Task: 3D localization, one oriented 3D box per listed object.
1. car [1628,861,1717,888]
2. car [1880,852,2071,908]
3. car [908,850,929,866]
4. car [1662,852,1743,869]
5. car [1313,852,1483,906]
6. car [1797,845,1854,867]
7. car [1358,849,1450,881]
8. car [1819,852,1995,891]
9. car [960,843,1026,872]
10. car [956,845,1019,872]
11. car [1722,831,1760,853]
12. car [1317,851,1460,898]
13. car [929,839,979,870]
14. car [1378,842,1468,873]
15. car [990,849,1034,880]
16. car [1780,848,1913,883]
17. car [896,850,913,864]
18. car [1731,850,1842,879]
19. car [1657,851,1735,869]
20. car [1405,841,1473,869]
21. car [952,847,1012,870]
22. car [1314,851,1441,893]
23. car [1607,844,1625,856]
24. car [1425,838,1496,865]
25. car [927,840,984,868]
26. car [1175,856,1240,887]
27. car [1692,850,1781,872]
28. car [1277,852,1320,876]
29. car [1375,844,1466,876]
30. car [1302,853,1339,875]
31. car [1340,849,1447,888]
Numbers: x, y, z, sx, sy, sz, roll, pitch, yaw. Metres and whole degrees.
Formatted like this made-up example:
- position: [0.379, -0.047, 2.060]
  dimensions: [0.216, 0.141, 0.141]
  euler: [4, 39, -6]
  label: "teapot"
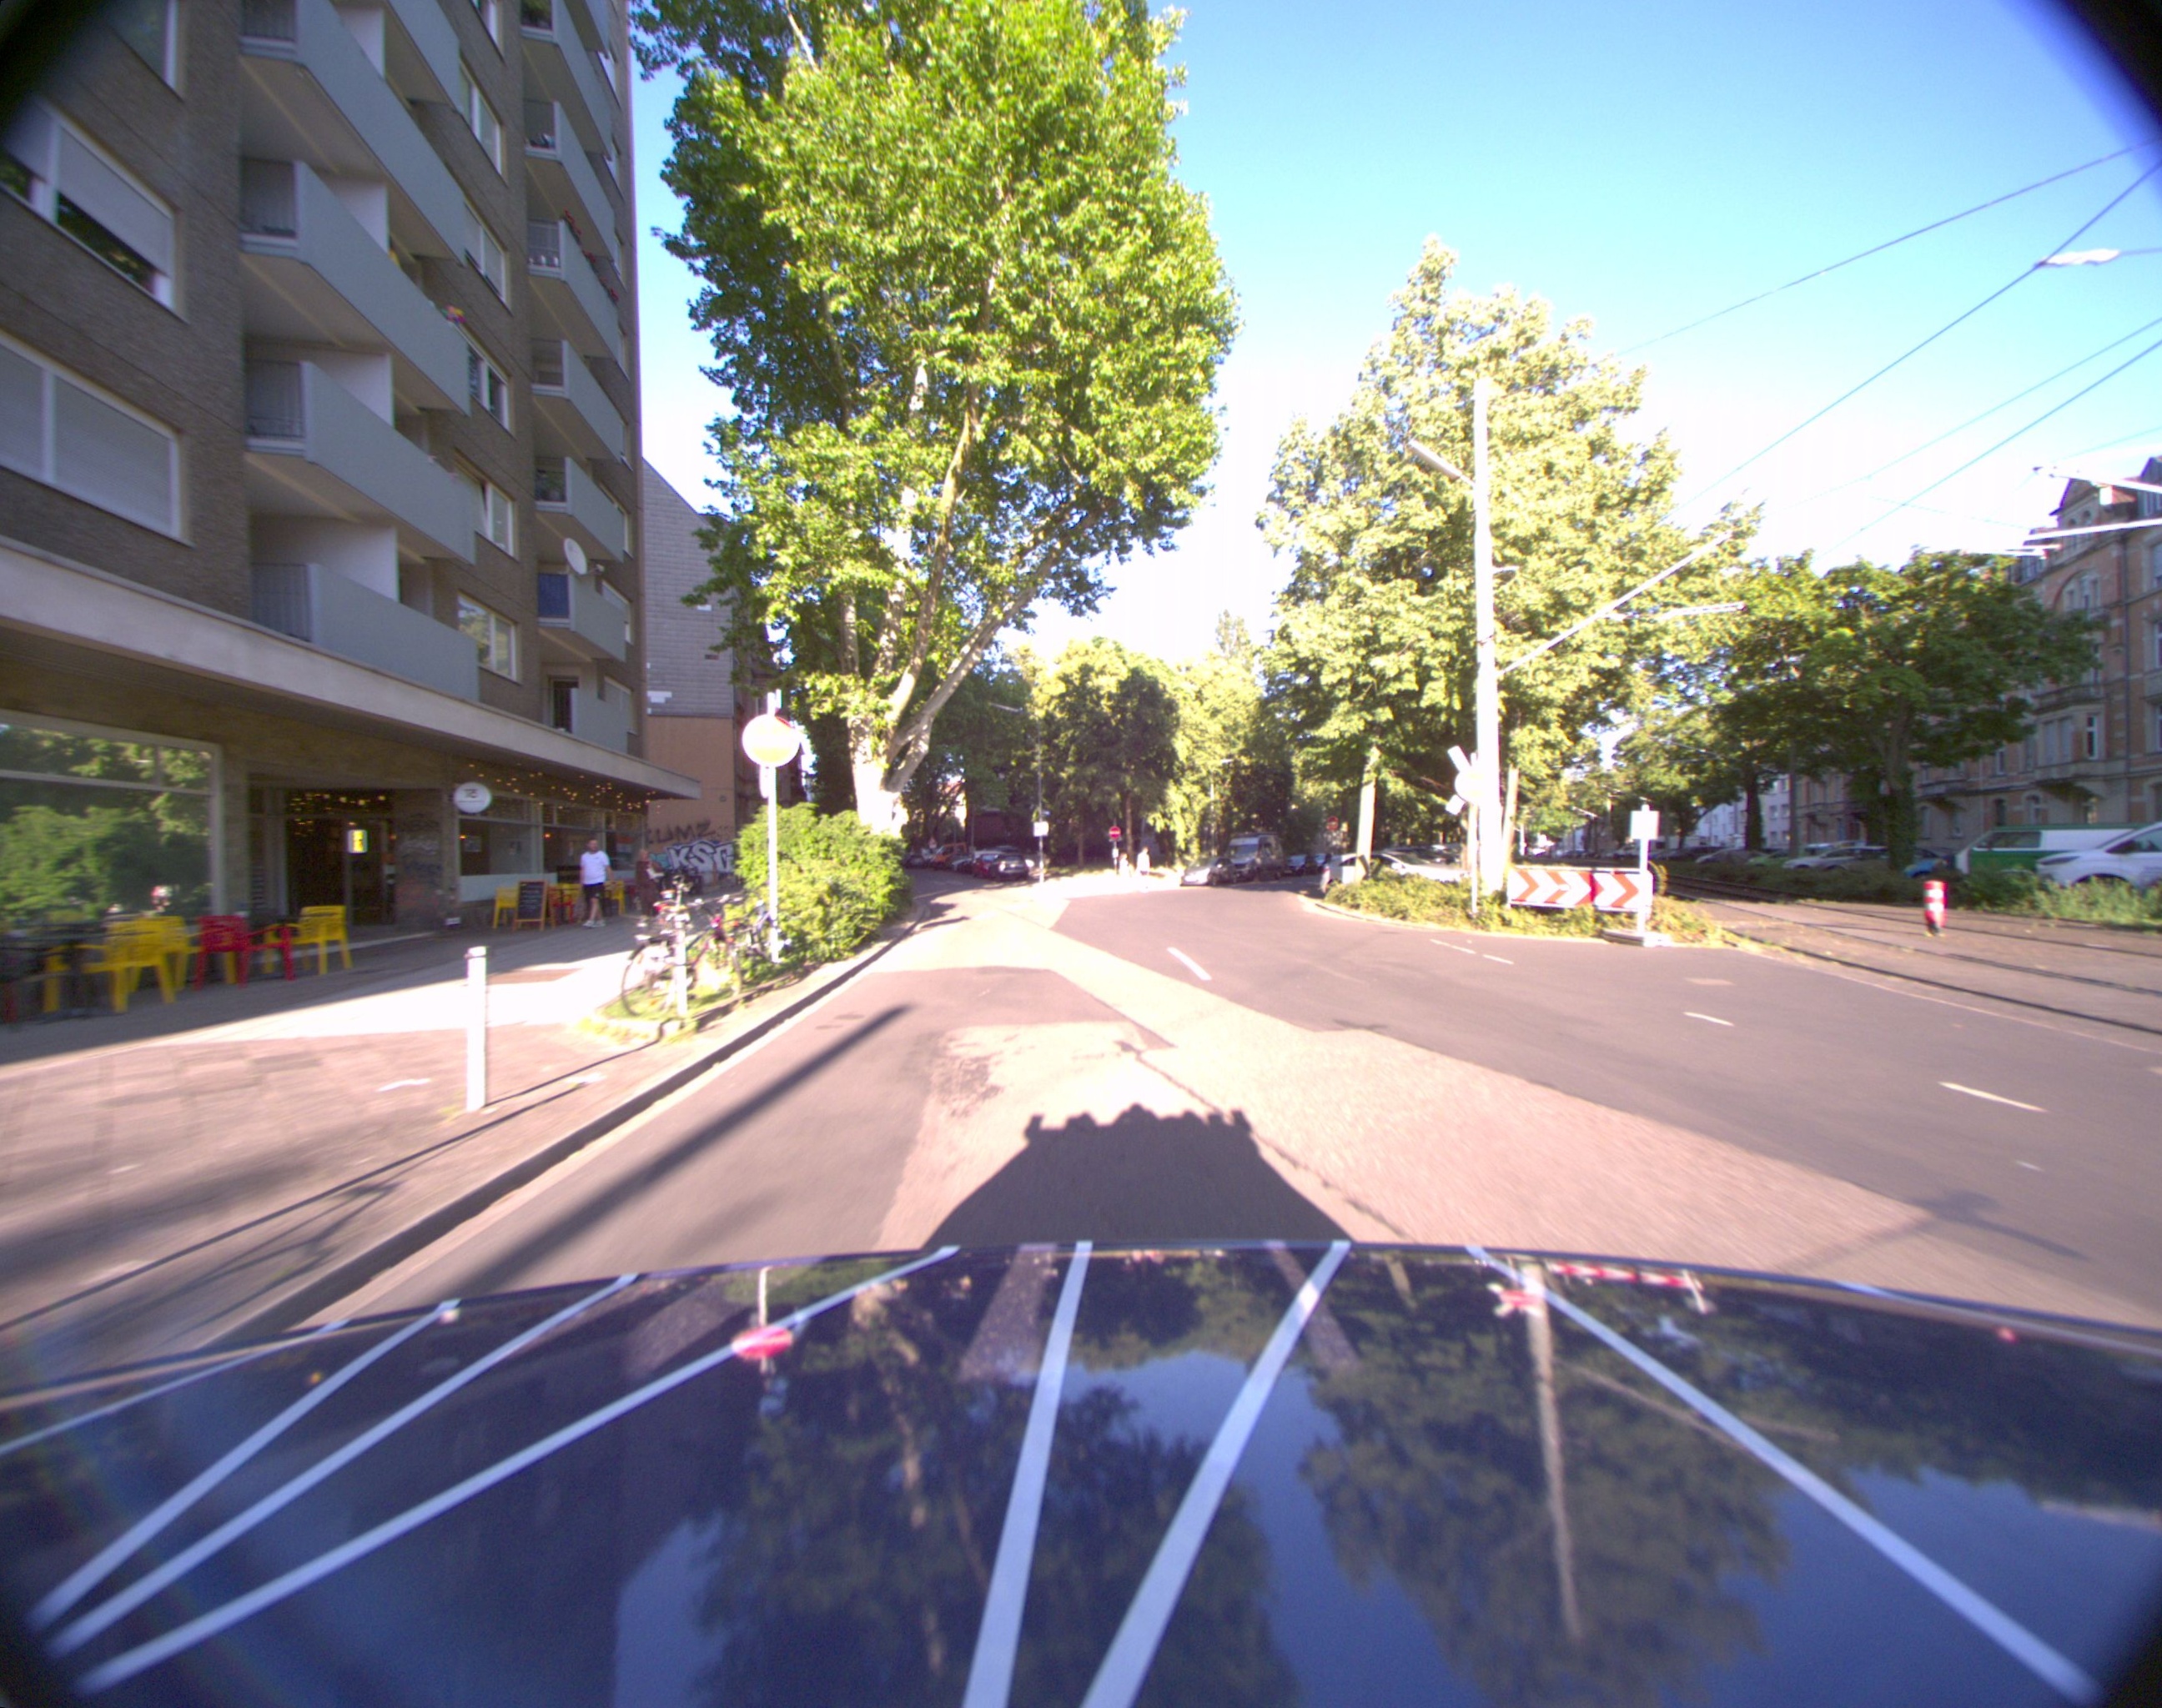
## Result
- position: [37.284, 1.270, 47.965]
  dimensions: [2.004, 1.569, 3.989]
  euler: [0, 1, -34]
  label: "car"
- position: [28.048, 0.753, 23.943]
  dimensions: [1.663, 1.630, 3.642]
  euler: [0, 0, -30]
  label: "car"
- position: [-15.806, 0.404, 73.644]
  dimensions: [1.608, 1.459, 3.993]
  euler: [1, 1, -17]
  label: "car"
- position: [43.889, 0.410, 53.743]
  dimensions: [1.502, 1.161, 4.193]
  euler: [0, 0, -32]
  label: "car"
- position: [9.324, 0.731, 22.620]
  dimensions: [1.778, 1.421, 4.283]
  euler: [-2, 0, -43]
  label: "car"
- position: [54.941, 0.161, 56.145]
  dimensions: [1.851, 1.522, 4.032]
  euler: [2, 1, 28]
  label: "car"
- position: [16.226, 0.570, 38.337]
  dimensions: [1.835, 1.430, 3.863]
  euler: [-2, -1, -34]
  label: "car"
- position: [31.203, 0.621, 28.869]
  dimensions: [1.596, 1.373, 4.279]
  euler: [0, 0, -29]
  label: "car"
- position: [-6.294, 0.236, 54.373]
  dimensions: [4.403, 1.766, 1.784]
  euler: [-4, 1, -14]
  label: "car"
- position: [-7.044, 0.323, 57.113]
  dimensions: [4.403, 1.766, 1.784]
  euler: [-4, 1, -14]
  label: "car"
- position: [64.669, -1.171, 74.500]
  dimensions: [1.995, 2.002, 4.007]
  euler: [0, 1, 28]
  label: "car"
- position: [10.195, 0.689, 25.403]
  dimensions: [1.778, 1.397, 4.029]
  euler: [-2, 0, -45]
  label: "car"
- position: [-12.348, -0.005, 73.851]
  dimensions: [4.645, 2.950, 1.604]
  euler: [-1, 1, -20]
  label: "car"
- position: [22.026, 0.272, 49.169]
  dimensions: [1.990, 1.770, 4.992]
  euler: [-2, -1, -32]
  label: "car"
- position: [-3.871, 0.550, 42.052]
  dimensions: [1.743, 1.543, 4.271]
  euler: [-4, 1, -14]
  label: "car"
- position: [32.412, 0.452, 32.267]
  dimensions: [1.730, 1.373, 3.729]
  euler: [0, 0, -35]
  label: "car"
- position: [-19.797, 0.370, 85.271]
  dimensions: [1.601, 1.459, 2.995]
  euler: [1, 1, -17]
  label: "car"
- position: [34.801, 0.479, 37.544]
  dimensions: [1.711, 1.373, 3.729]
  euler: [0, 0, -34]
  label: "car"
- position: [45.382, 0.407, 56.184]
  dimensions: [1.639, 1.302, 4.178]
  euler: [0, 0, -31]
  label: "car"
- position: [25.454, 0.106, 54.165]
  dimensions: [1.886, 1.770, 4.154]
  euler: [-2, -1, -22]
  label: "car"
- position: [-7.758, 0.315, 59.298]
  dimensions: [4.403, 1.484, 1.784]
  euler: [-4, 1, -14]
  label: "car"
- position: [10.975, 0.687, 28.292]
  dimensions: [1.778, 1.356, 3.975]
  euler: [-2, -2, -44]
  label: "car"
- position: [93.123, -0.716, 132.315]
  dimensions: [1.995, 2.002, 4.007]
  euler: [0, 0, 25]
  label: "car"
- position: [34.797, -0.200, 69.785]
  dimensions: [2.084, 2.124, 5.503]
  euler: [-2, -1, -30]
  label: "car"
- position: [-10.914, -0.027, 66.181]
  dimensions: [4.645, 2.399, 1.604]
  euler: [-1, 1, -20]
  label: "car"
- position: [6.390, 0.848, 37.975]
  dimensions: [1.681, 1.437, 3.879]
  euler: [-3, -1, 34]
  label: "car"
- position: [41.135, 0.417, 47.754]
  dimensions: [1.597, 1.310, 3.989]
  euler: [-1, 0, -40]
  label: "car"
- position: [14.684, 0.659, 51.172]
  dimensions: [1.681, 1.517, 4.498]
  euler: [0, 0, 31]
  label: "car"
- position: [19.478, 0.357, 43.763]
  dimensions: [1.944, 1.616, 4.349]
  euler: [-2, -1, -31]
  label: "car"
- position: [17.821, 0.718, 56.457]
  dimensions: [1.681, 1.517, 4.296]
  euler: [0, 0, 31]
  label: "car"
- position: [13.572, 0.661, 33.200]
  dimensions: [1.835, 1.484, 3.876]
  euler: [-2, -1, -33]
  label: "car"
